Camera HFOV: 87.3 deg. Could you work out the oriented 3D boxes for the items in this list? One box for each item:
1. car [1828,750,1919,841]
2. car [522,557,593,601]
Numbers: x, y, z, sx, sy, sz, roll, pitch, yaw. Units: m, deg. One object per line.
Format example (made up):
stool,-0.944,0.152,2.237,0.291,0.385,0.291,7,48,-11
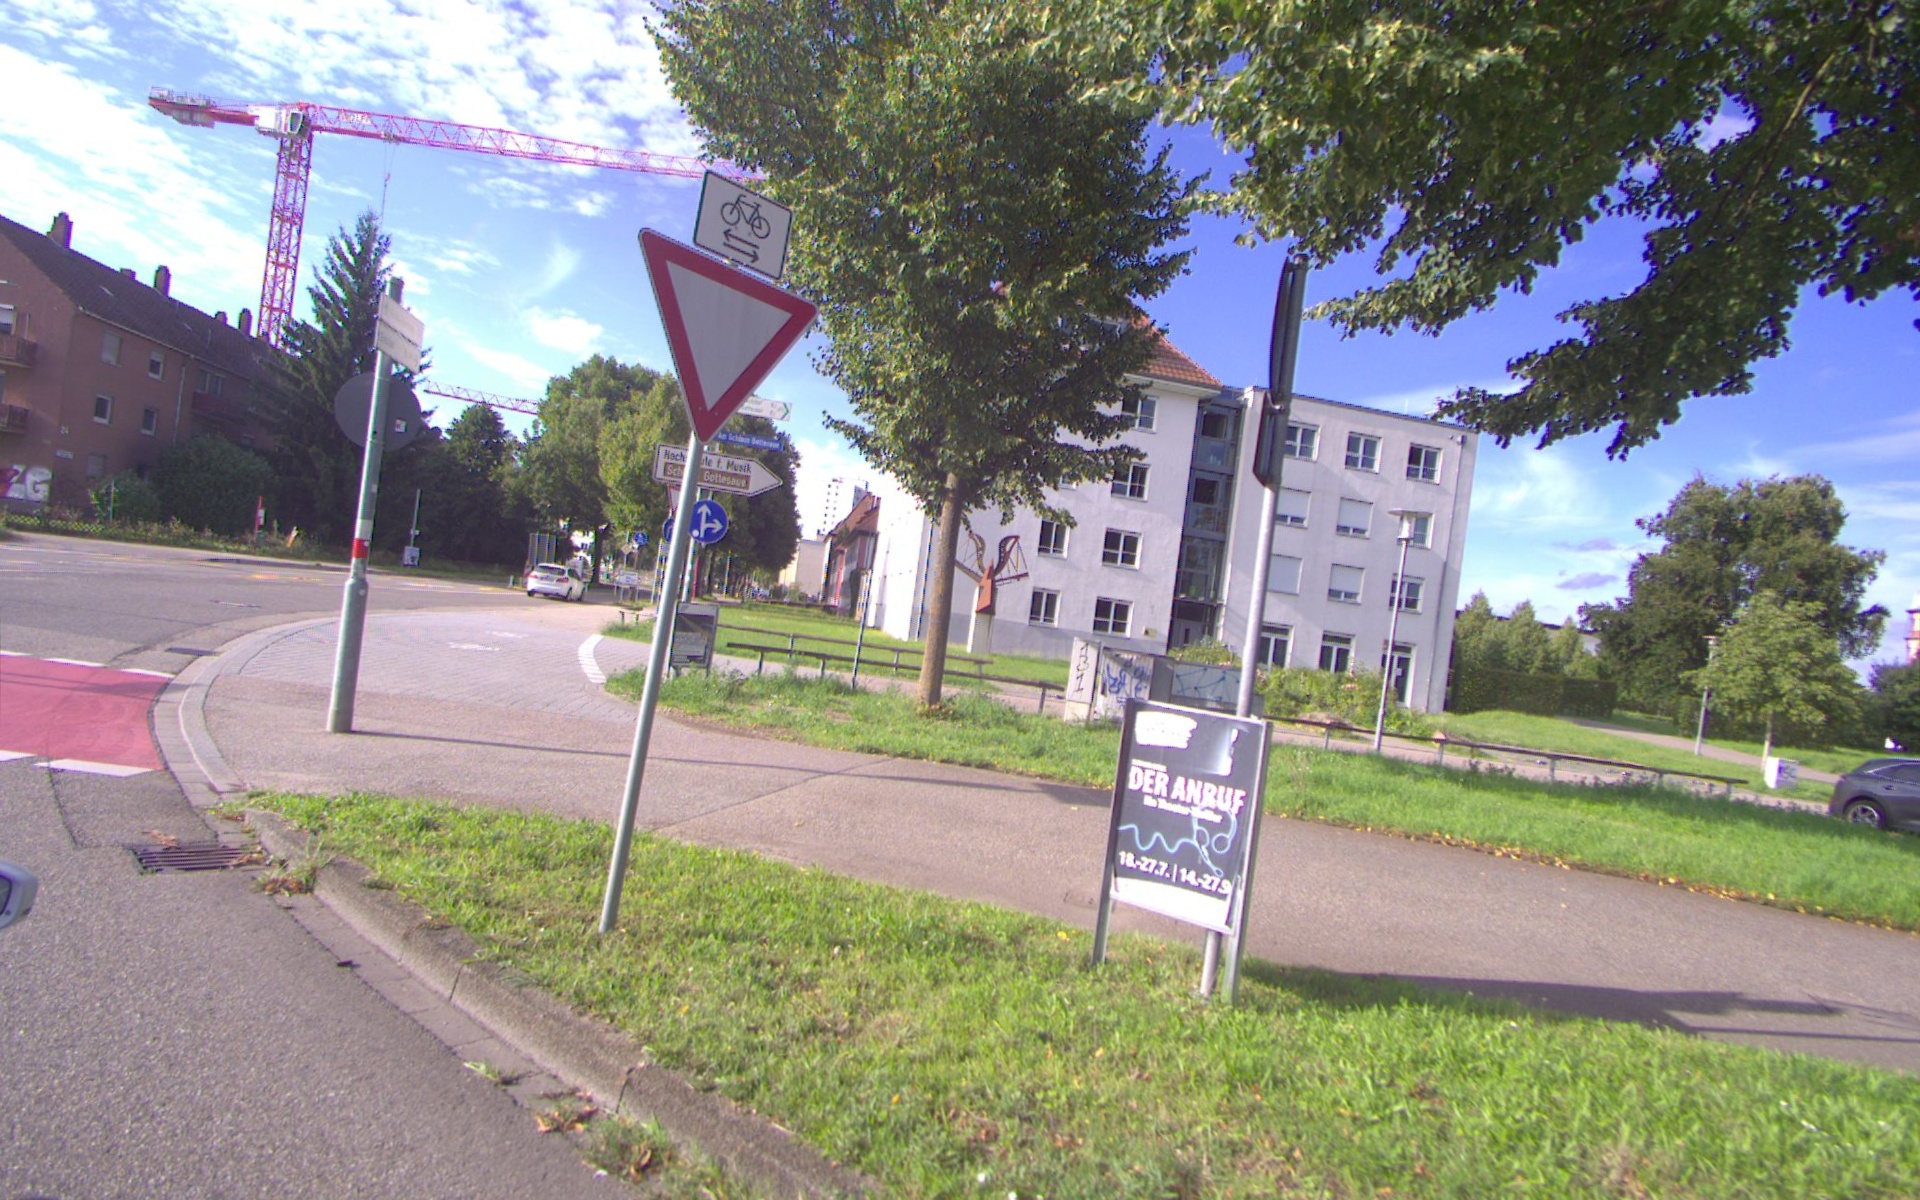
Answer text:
car,18.247,3.741,17.544,1.829,1.397,4.510,8,-1,-8
car,-18.336,-0.922,46.079,1.825,1.590,4.450,9,-2,-8
